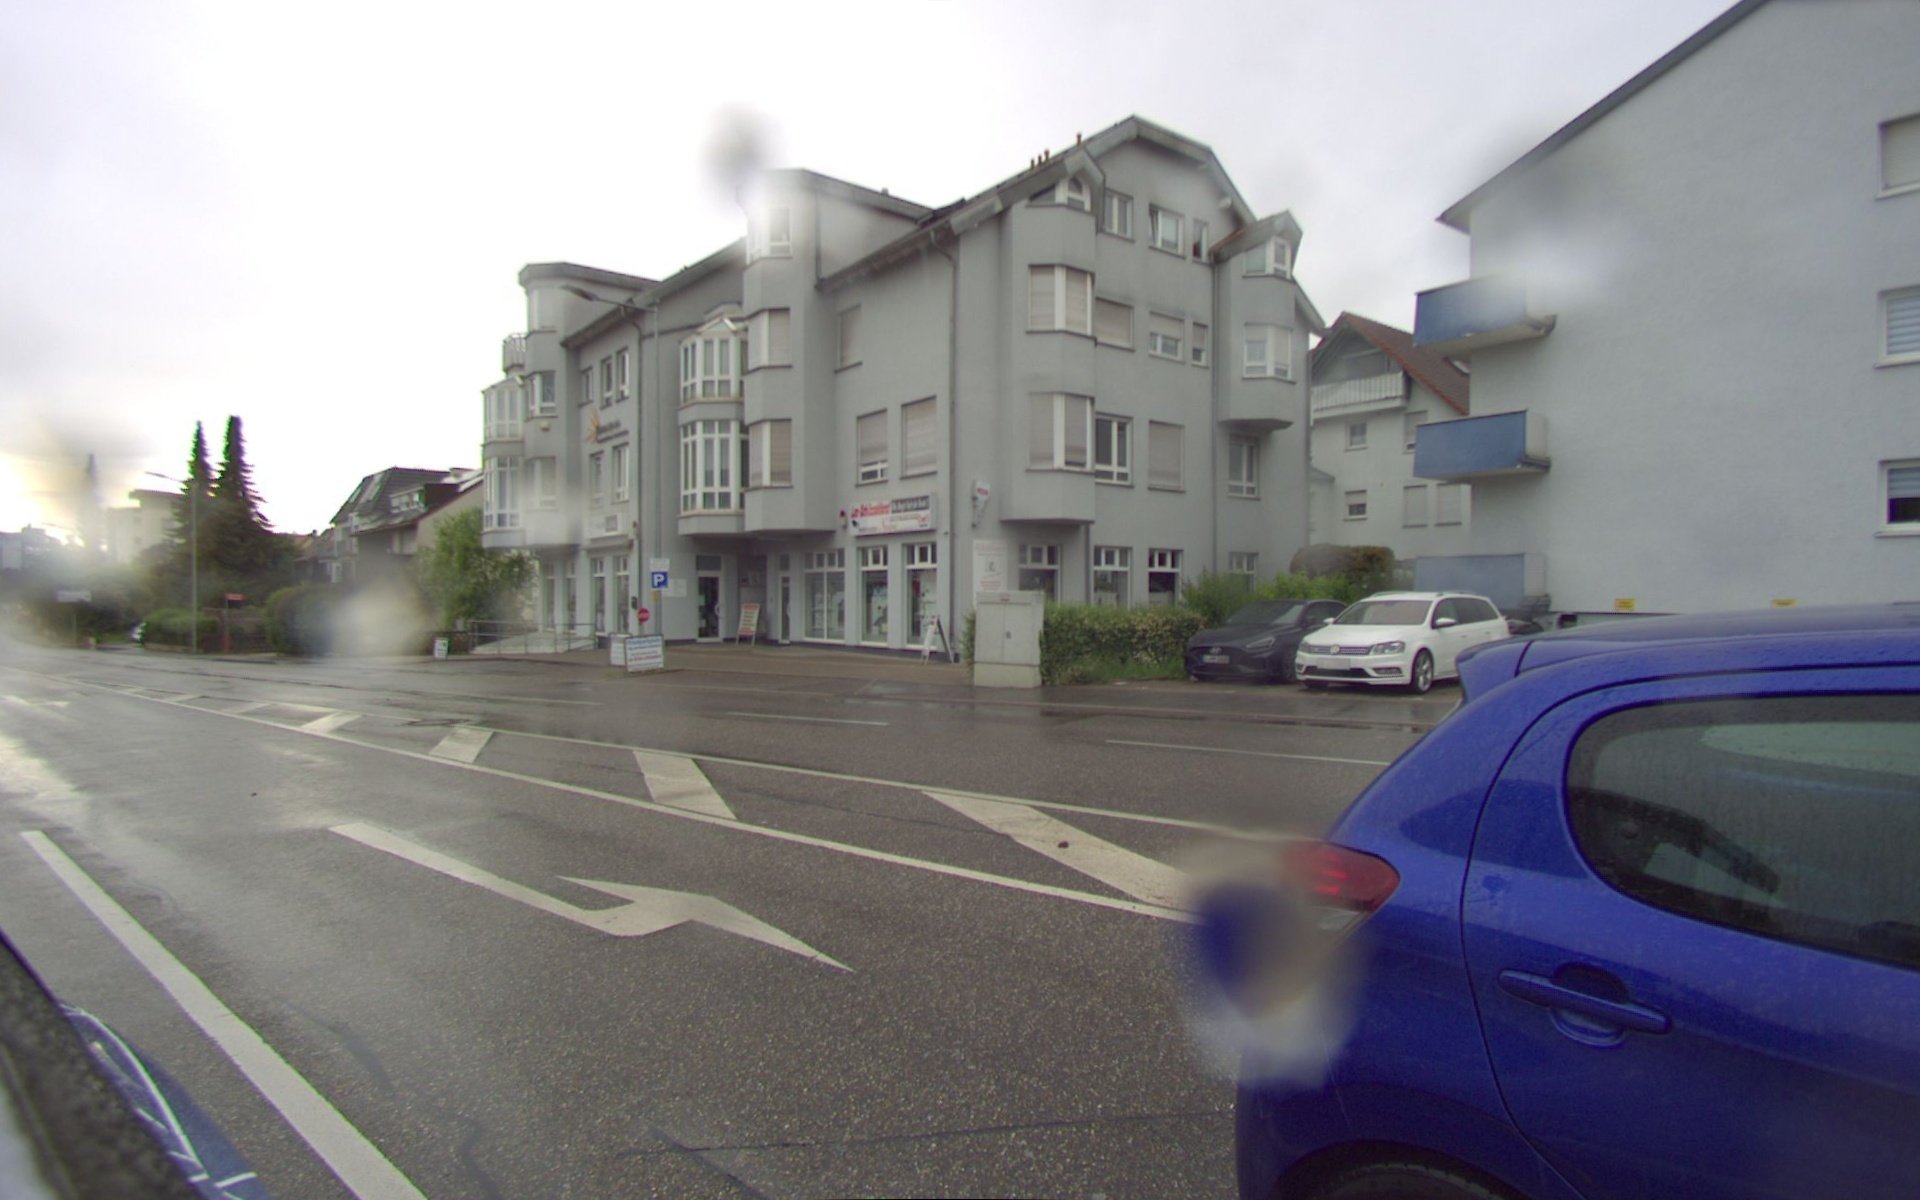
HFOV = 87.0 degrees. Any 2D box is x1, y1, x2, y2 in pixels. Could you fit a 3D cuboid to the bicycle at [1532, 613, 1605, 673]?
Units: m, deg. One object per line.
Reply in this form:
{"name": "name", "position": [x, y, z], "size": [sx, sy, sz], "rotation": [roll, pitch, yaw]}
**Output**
{"name": "bicycle", "position": [11.157, 0.785, 18.567], "size": [1.065, 1.061, 0.343], "rotation": [-2, -1, 41]}

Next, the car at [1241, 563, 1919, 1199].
{"name": "car", "position": [2.249, 0.638, 1.202], "size": [3.362, 1.423, 1.489], "rotation": [-2, -1, 41]}

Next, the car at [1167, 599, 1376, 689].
{"name": "car", "position": [5.506, 0.683, 17.656], "size": [1.851, 1.366, 3.941], "rotation": [-1, 0, 45]}

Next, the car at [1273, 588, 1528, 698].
{"name": "car", "position": [6.995, 0.598, 15.811], "size": [4.685, 1.471, 1.883], "rotation": [0, -2, -42]}

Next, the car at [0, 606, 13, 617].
{"name": "car", "position": [-165.981, 2.018, 175.834], "size": [4.001, 1.798, 1.972], "rotation": [-1, 0, 43]}
